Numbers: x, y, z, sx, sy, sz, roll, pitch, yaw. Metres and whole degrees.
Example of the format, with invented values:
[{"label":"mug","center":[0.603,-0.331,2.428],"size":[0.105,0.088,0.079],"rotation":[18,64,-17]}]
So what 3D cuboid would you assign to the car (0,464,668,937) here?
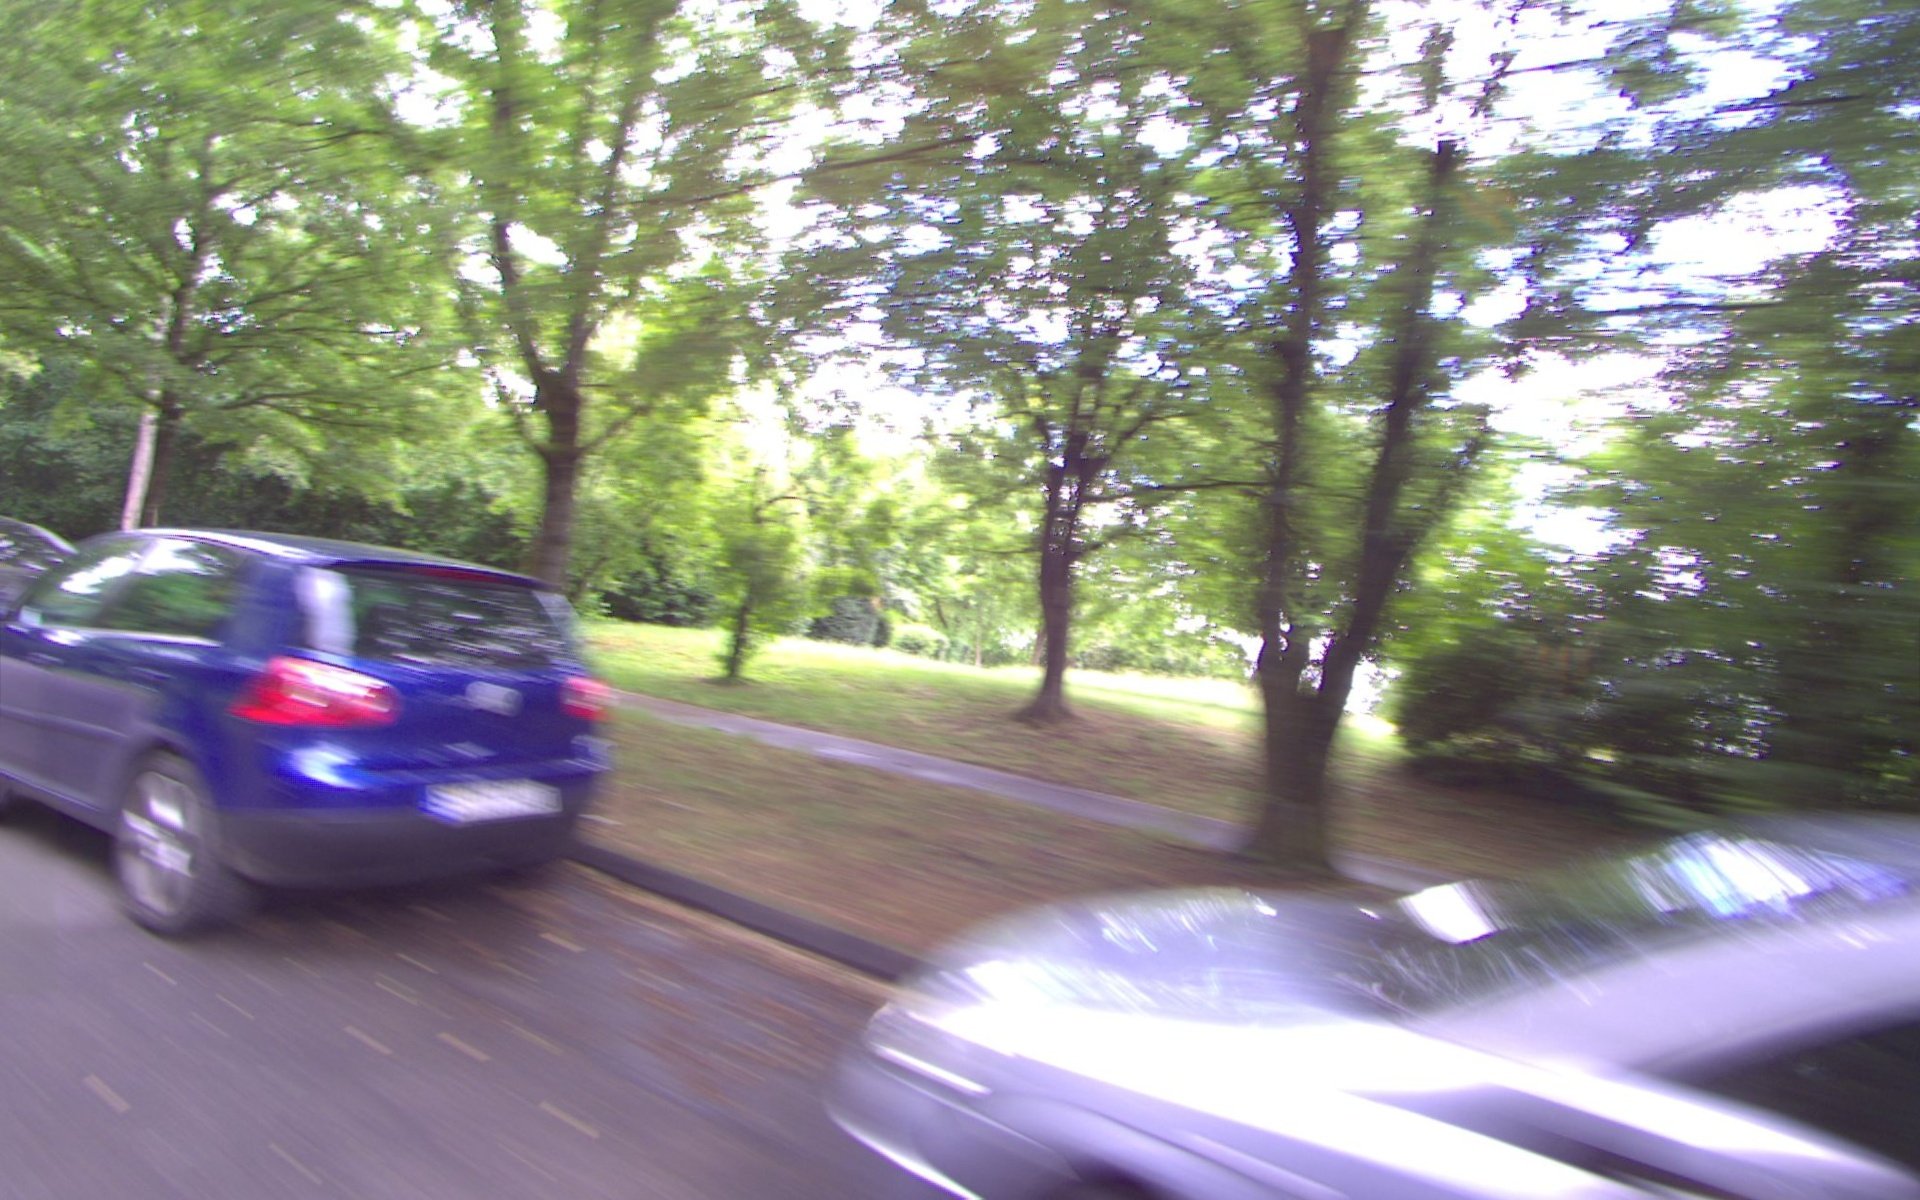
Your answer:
[{"label":"car","center":[-3.695,0.286,5.131],"size":[4.111,1.525,1.720],"rotation":[6,-4,30]}]

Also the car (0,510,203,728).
[{"label":"car","center":[-7.792,-0.077,7.390],"size":[4.338,1.352,1.756],"rotation":[7,-3,27]}]

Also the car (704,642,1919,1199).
[{"label":"car","center":[1.599,1.058,1.812],"size":[3.883,1.448,1.721],"rotation":[6,-2,31]}]
